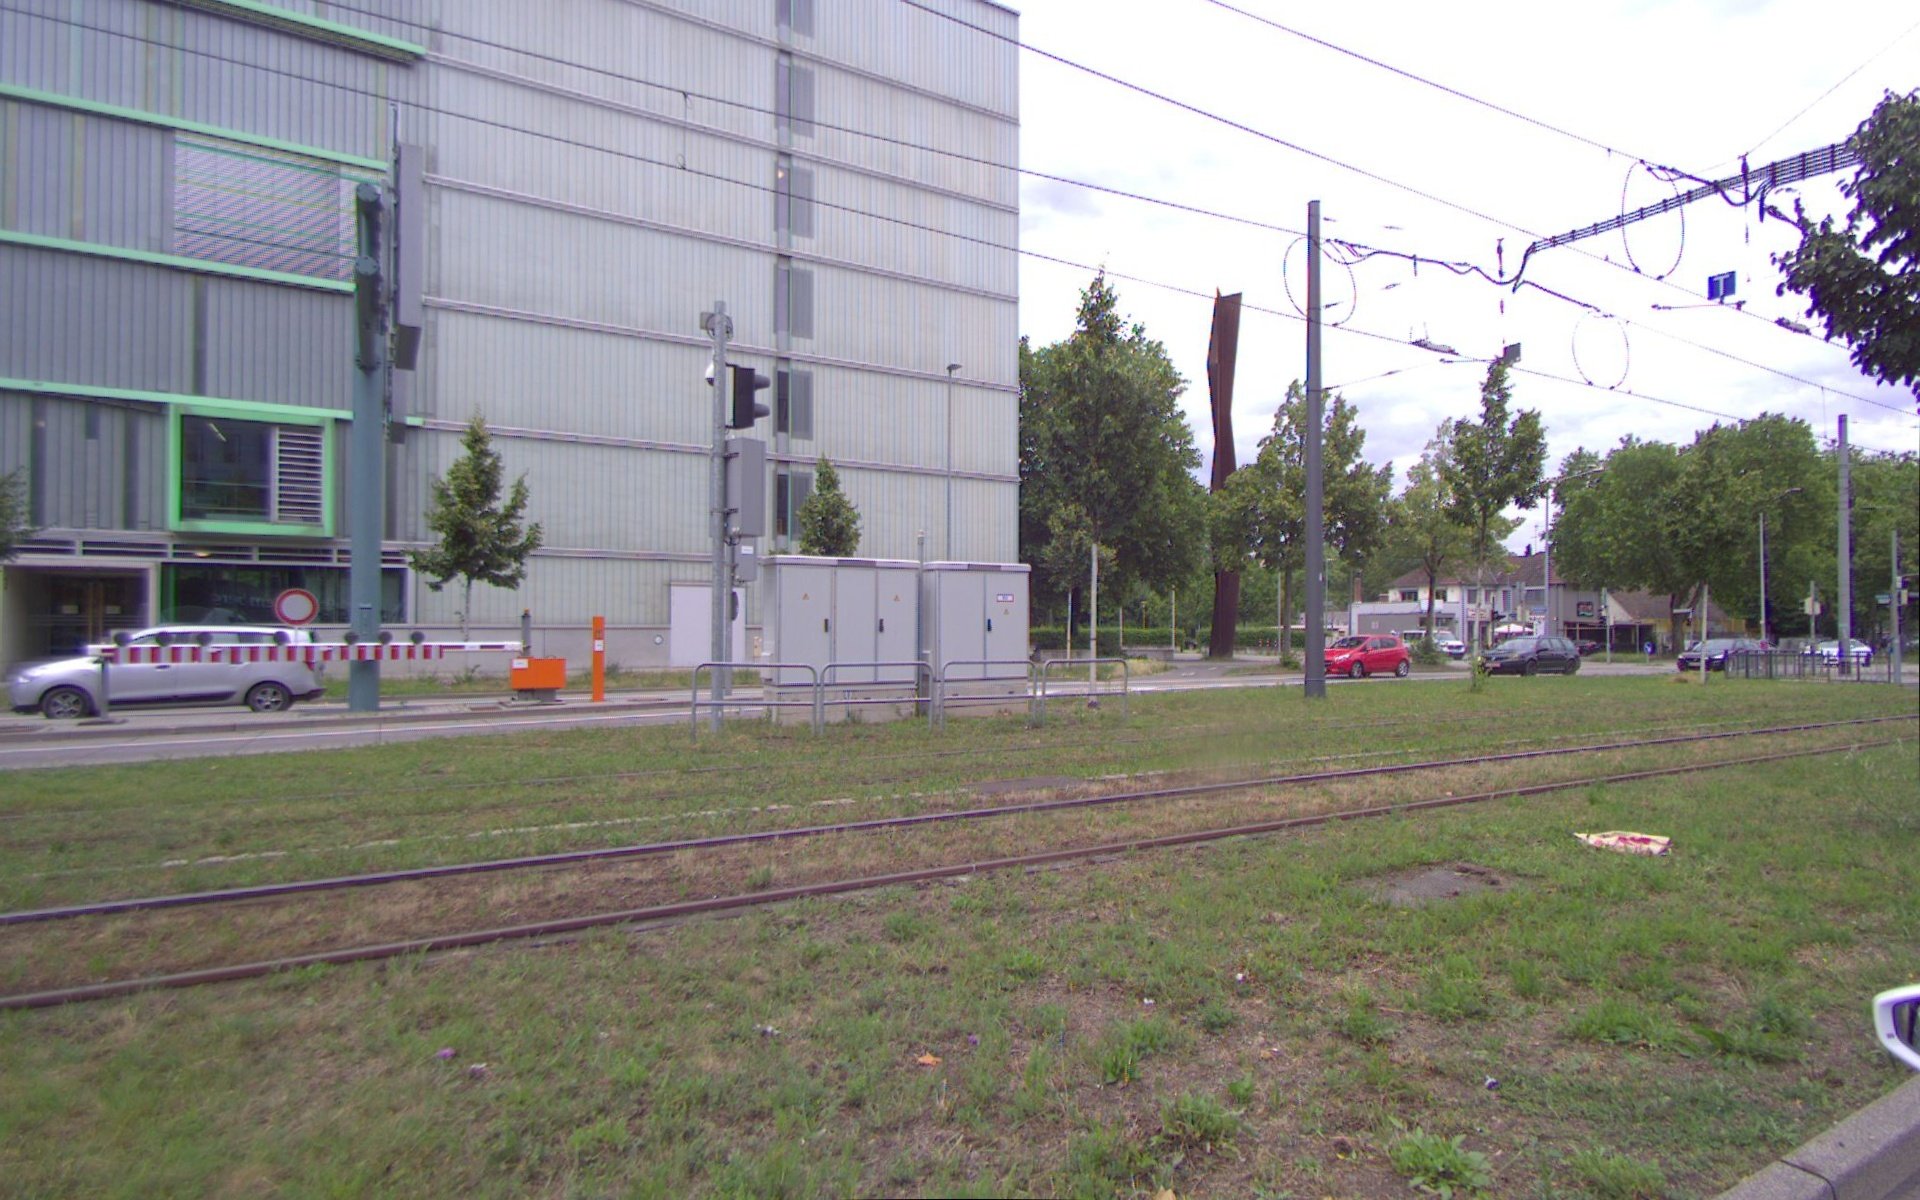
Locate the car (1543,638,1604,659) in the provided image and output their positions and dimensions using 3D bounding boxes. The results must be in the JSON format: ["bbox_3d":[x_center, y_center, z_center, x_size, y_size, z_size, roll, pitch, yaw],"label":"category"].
[{"bbox_3d":[54.959,4.318,90.091,2.078,1.840,4.268,1,-1,-25],"label":"car"}]

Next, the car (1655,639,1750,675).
[{"bbox_3d":[30.742,2.335,41.568,4.011,1.395,1.792,1,-2,-31],"label":"car"}]

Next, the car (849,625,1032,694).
[{"bbox_3d":[-0.467,1.514,26.512,4.623,1.665,1.711,1,-2,-33],"label":"car"}]

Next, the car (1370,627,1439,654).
[{"bbox_3d":[32.075,2.908,72.546,2.078,1.840,4.268,1,-1,-25],"label":"car"}]

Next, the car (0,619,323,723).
[{"bbox_3d":[-14.183,1.230,18.037,4.526,1.591,1.787,2,0,-31],"label":"car"}]

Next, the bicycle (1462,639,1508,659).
[{"bbox_3d":[32.619,3.029,62.407,2.474,1.218,0.738,-1,-1,35],"label":"bicycle"}]

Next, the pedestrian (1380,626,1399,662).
[{"bbox_3d":[24.351,2.483,56.922,0.887,2.040,0.954,0,-1,18],"label":"pedestrian"}]

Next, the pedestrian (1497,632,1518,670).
[{"bbox_3d":[26.808,2.484,49.177,0.769,1.856,0.771,-1,-1,43],"label":"pedestrian"}]

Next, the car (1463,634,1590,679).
[{"bbox_3d":[19.288,1.891,34.146,4.692,1.445,1.655,1,-3,-32],"label":"car"}]

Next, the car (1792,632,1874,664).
[{"bbox_3d":[46.091,2.488,52.996,5.019,1.609,1.802,1,-1,-31],"label":"car"}]

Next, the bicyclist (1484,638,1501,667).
[{"bbox_3d":[32.950,3.226,62.177,0.838,1.744,0.719,0,-1,34],"label":"bicyclist"}]

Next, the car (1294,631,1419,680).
[{"bbox_3d":[13.908,1.904,35.219,4.275,1.591,1.788,1,-1,-29],"label":"car"}]

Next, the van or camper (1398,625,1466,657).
[{"bbox_3d":[32.406,2.780,69.181,2.416,2.040,5.283,0,-1,2],"label":"van or camper"}]
